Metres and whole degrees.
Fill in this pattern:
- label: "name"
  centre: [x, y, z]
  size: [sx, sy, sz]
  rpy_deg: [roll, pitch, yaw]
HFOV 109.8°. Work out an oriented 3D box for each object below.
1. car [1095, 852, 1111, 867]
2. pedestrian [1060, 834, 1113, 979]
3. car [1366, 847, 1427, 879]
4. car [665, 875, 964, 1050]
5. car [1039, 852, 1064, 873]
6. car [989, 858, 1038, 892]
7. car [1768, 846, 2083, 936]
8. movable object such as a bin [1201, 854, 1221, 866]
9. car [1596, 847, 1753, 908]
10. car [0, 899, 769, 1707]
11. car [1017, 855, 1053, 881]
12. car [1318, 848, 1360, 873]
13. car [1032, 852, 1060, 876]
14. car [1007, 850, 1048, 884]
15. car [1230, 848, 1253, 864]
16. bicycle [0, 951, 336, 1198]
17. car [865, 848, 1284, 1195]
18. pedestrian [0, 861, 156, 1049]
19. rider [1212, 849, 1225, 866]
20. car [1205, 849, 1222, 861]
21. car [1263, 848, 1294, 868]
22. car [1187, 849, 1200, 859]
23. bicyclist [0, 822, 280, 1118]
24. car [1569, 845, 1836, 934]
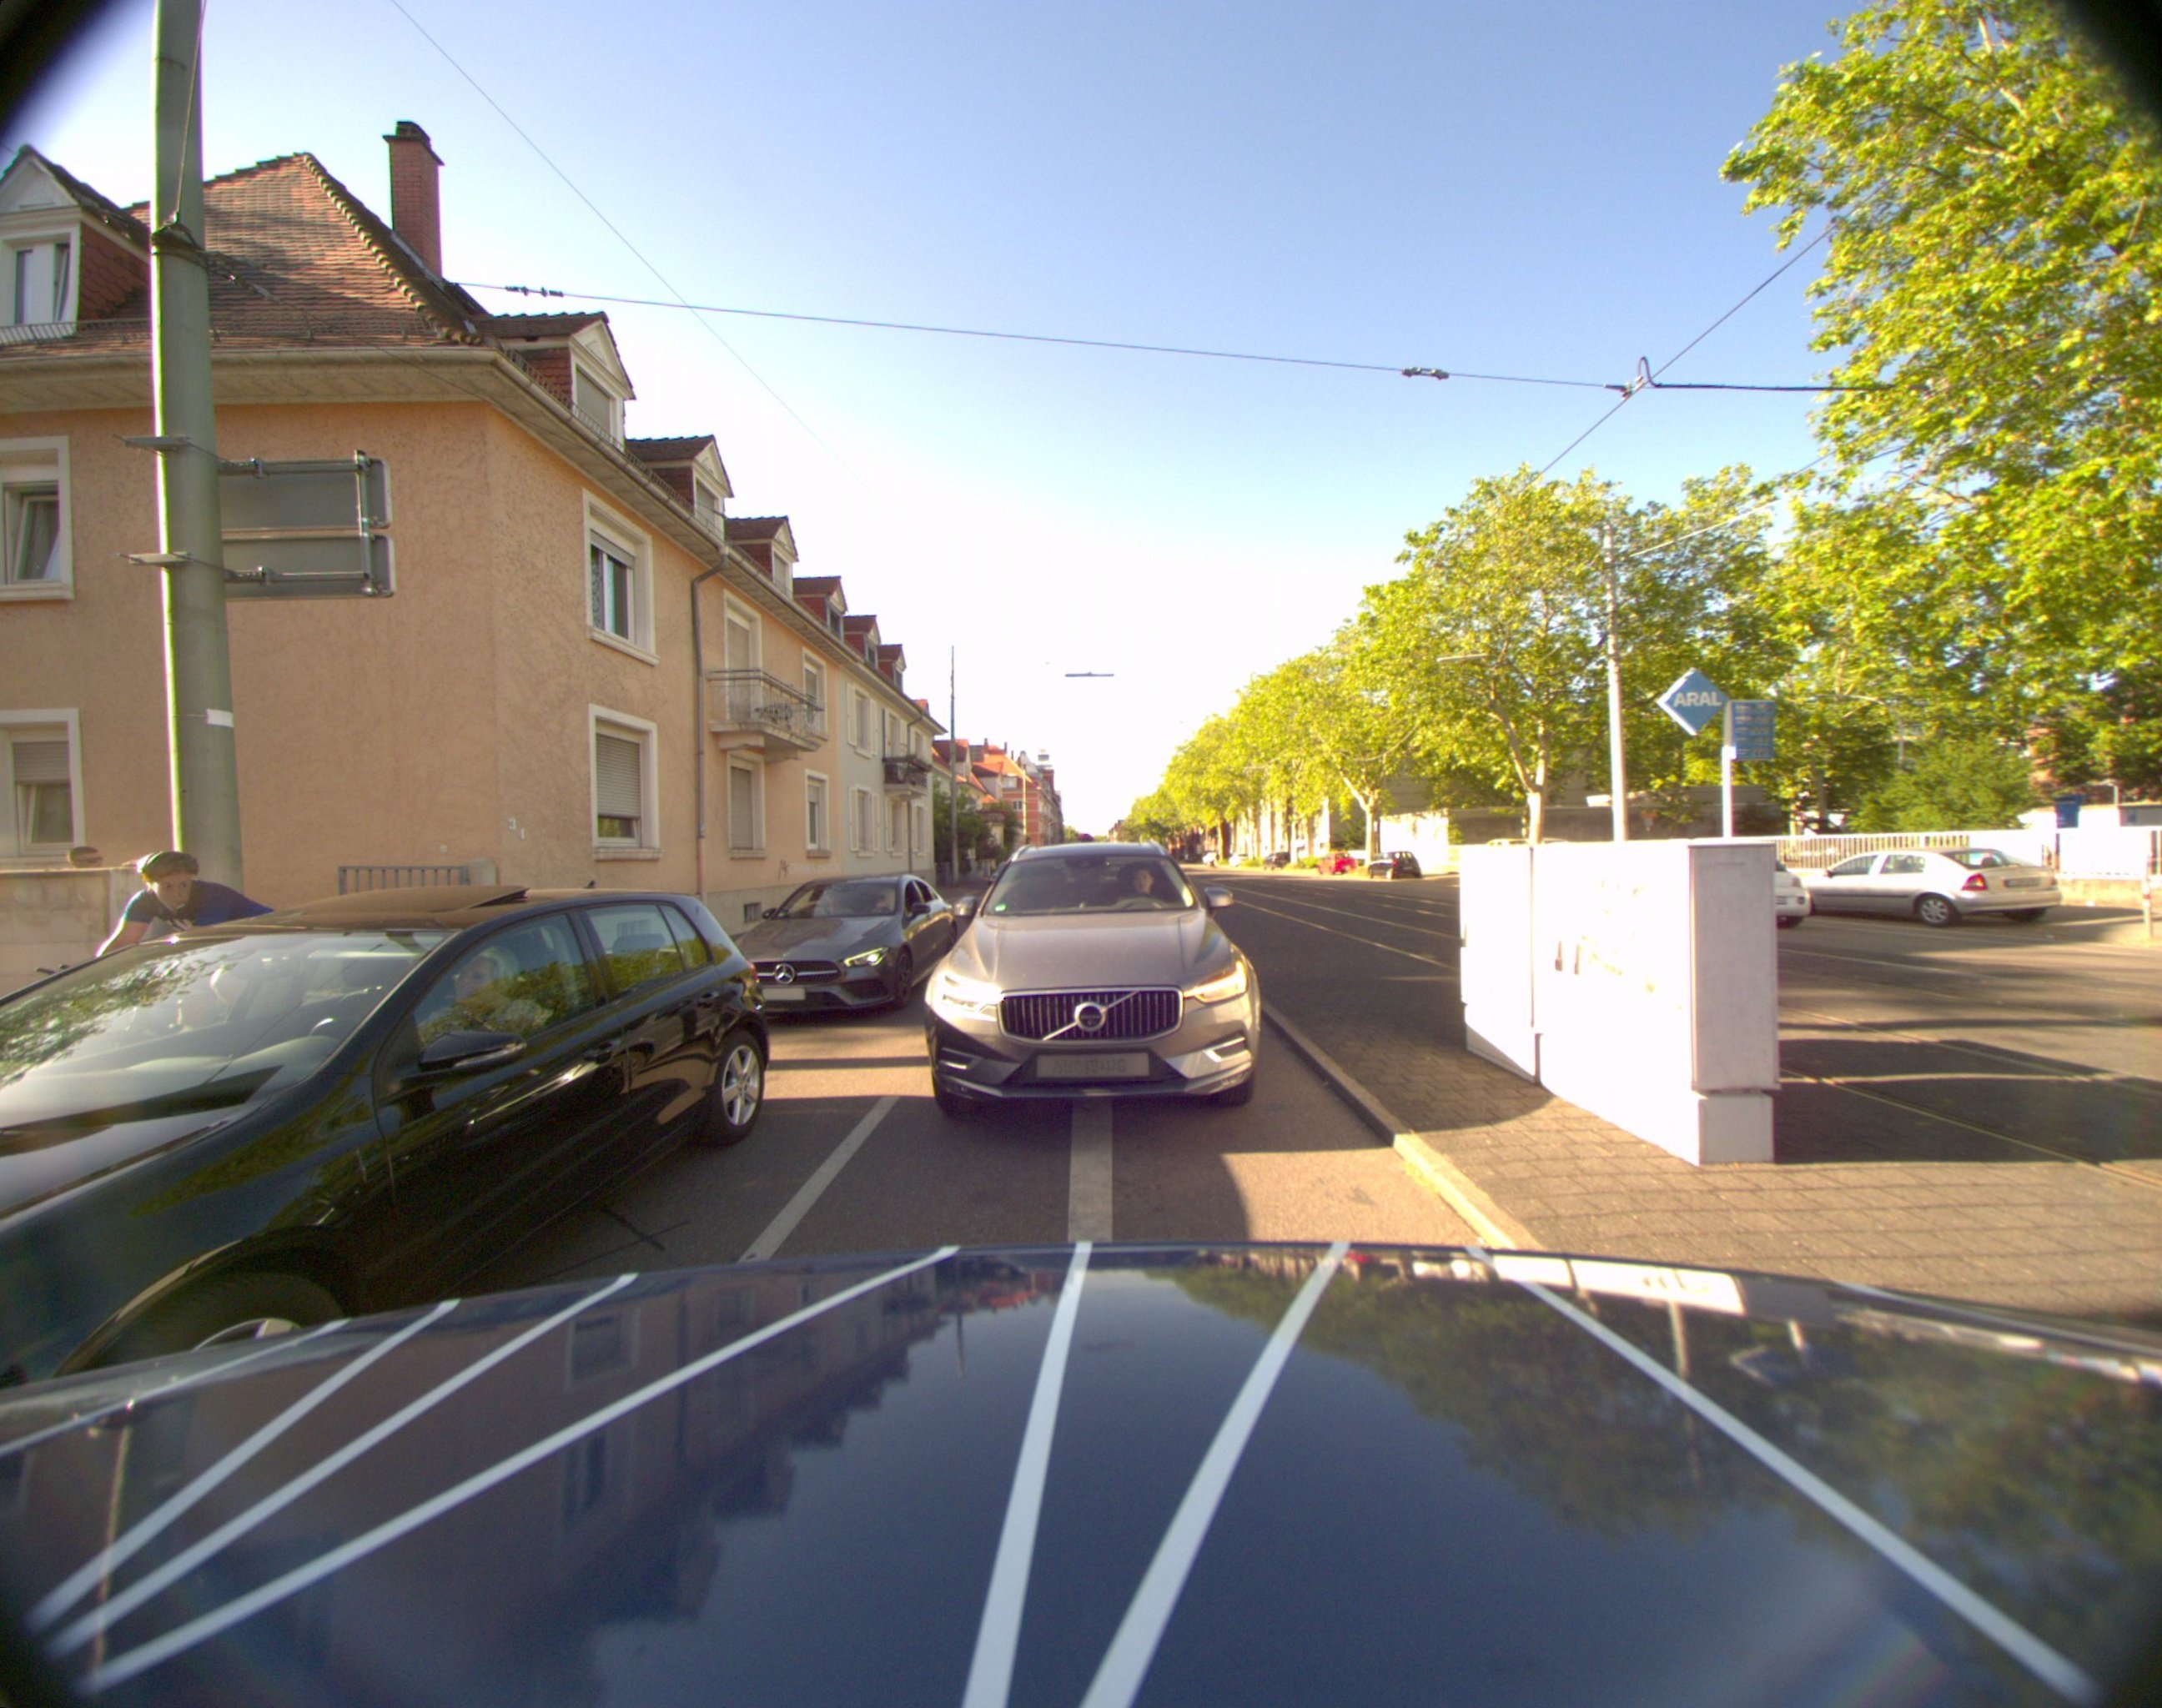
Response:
- label: "car"
  centre: [2.692, 0.644, 93.051]
  size: [1.851, 1.640, 3.999]
  rpy_deg: [-2, 1, 1]
- label: "pedestrian"
  centre: [0.072, 0.671, 10.012]
  size: [0.609, 1.832, 0.599]
  rpy_deg: [-2, 1, 1]
- label: "car"
  centre: [16.833, 0.446, 40.726]
  size: [1.723, 1.436, 3.769]
  rpy_deg: [-4, 1, 3]
- label: "car"
  centre: [-2.717, 1.032, 9.005]
  size: [1.825, 1.422, 4.491]
  rpy_deg: [-2, -1, 1]
- label: "car"
  centre: [-2.593, 0.689, 67.278]
  size: [1.825, 1.701, 4.334]
  rpy_deg: [-2, 1, 1]
- label: "car"
  centre: [-3.230, 0.959, 37.138]
  size: [1.825, 1.422, 4.334]
  rpy_deg: [-2, 1, 1]
- label: "car"
  centre: [16.198, 0.628, 14.950]
  size: [1.687, 1.358, 3.989]
  rpy_deg: [-6, 0, 1]
- label: "movable object such as a bin"
  centre: [12.835, 0.577, 75.185]
  size: [1.180, 1.097, 1.831]
  rpy_deg: [-3, 1, -21]
- label: "car"
  centre: [16.511, 0.587, 21.380]
  size: [1.619, 1.436, 3.606]
  rpy_deg: [-4, 1, 3]
- label: "car"
  centre: [-2.802, 1.042, 2.616]
  size: [1.717, 1.430, 3.990]
  rpy_deg: [-2, 1, 1]
- label: "car"
  centre: [-2.799, 0.829, 46.986]
  size: [1.825, 1.424, 4.334]
  rpy_deg: [-2, 1, 1]
- label: "car"
  centre: [16.932, 0.393, 50.039]
  size: [1.661, 1.486, 3.377]
  rpy_deg: [-4, 1, 3]
- label: "car"
  centre: [-2.781, 0.767, 60.912]
  size: [1.825, 1.701, 4.334]
  rpy_deg: [-2, 1, 1]
- label: "car"
  centre: [-2.907, 0.684, 42.393]
  size: [1.825, 1.701, 4.334]
  rpy_deg: [-2, 1, 1]
- label: "car"
  centre: [17.621, 0.222, 83.464]
  size: [1.754, 1.532, 3.878]
  rpy_deg: [-4, 1, 3]
- label: "bicycle"
  centre: [-5.696, 1.259, 4.763]
  size: [0.556, 1.069, 1.624]
  rpy_deg: [2, 0, -7]
- label: "car"
  centre: [0.120, 0.796, 5.777]
  size: [1.924, 1.579, 4.387]
  rpy_deg: [-2, 1, 4]
- label: "pedestrian"
  centre: [-9.303, 0.895, 6.993]
  size: [0.760, 1.596, 0.611]
  rpy_deg: [4, 1, -2]
- label: "rider"
  centre: [13.394, 0.322, 73.975]
  size: [0.726, 1.639, 1.104]
  rpy_deg: [-3, 1, -21]
- label: "car"
  centre: [17.578, 0.095, 100.679]
  size: [1.661, 1.452, 3.730]
  rpy_deg: [-4, 1, 3]
- label: "car"
  centre: [17.098, 0.320, 65.983]
  size: [1.754, 1.582, 3.878]
  rpy_deg: [-4, 1, 3]
- label: "car"
  centre: [18.559, 0.051, 125.555]
  size: [1.661, 1.452, 3.730]
  rpy_deg: [-4, 1, 3]
- label: "bicyclist"
  centre: [-5.918, 0.673, 4.725]
  size: [1.021, 1.684, 0.729]
  rpy_deg: [2, 0, -7]
- label: "car"
  centre: [11.566, 0.568, 14.558]
  size: [1.743, 1.427, 3.934]
  rpy_deg: [2, 1, -2]
